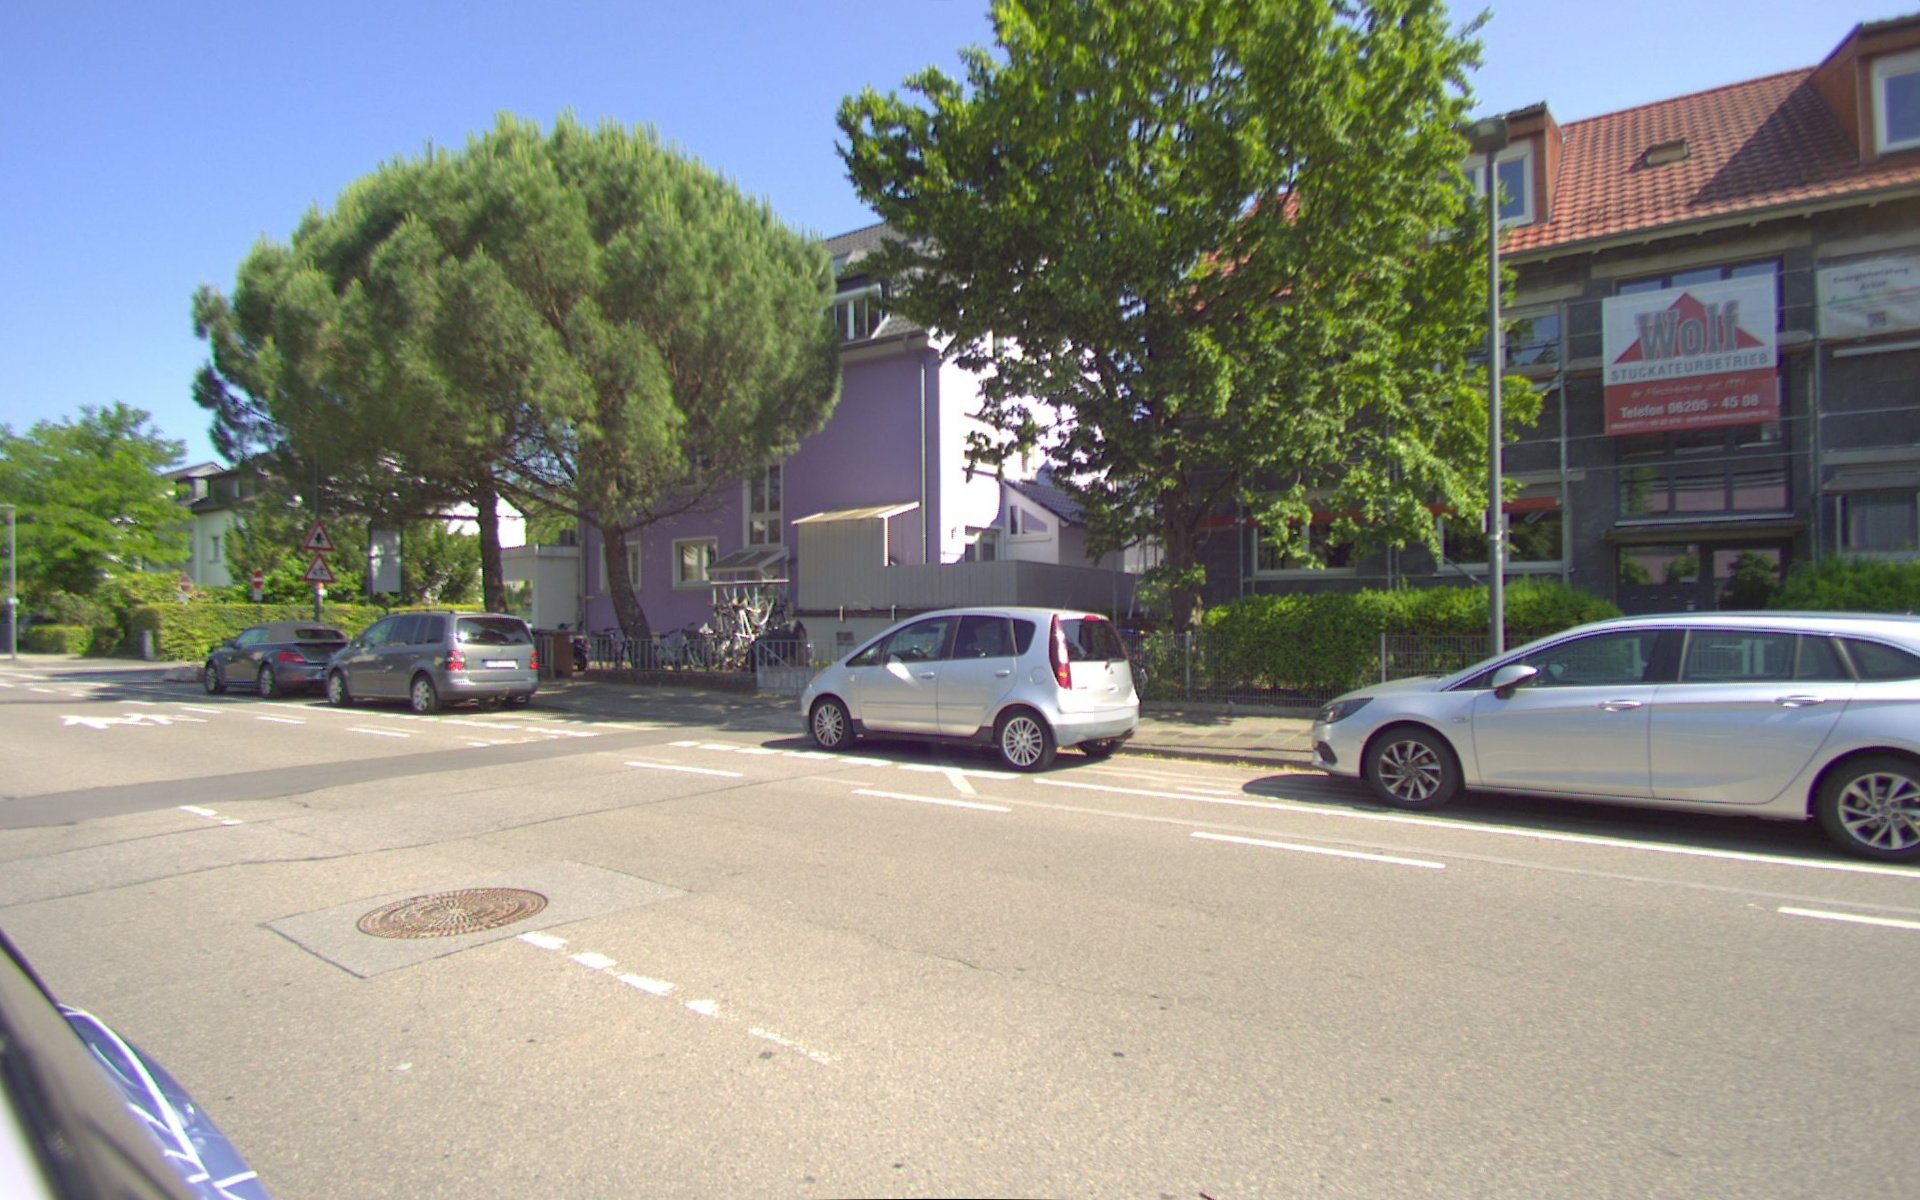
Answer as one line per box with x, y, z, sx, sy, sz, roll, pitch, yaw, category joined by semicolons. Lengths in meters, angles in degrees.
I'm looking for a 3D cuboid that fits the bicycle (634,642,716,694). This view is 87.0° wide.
-5.556;1.295;19.680;1.910;0.961;0.453;-2;-2;36;bicycle

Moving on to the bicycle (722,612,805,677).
-4.391;0.998;22.773;0.501;1.394;2.154;-2;-3;32;bicycle

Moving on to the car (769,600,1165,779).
-0.028;0.864;10.766;3.993;1.571;1.704;-2;-3;37;car

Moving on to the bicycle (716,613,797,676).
-4.672;1.016;23.378;0.501;1.394;2.154;-2;-3;32;bicycle

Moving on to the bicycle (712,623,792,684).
-4.905;1.255;24.005;0.501;1.394;2.154;-2;-3;32;bicycle

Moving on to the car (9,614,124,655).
-42.182;1.648;47.820;3.940;1.830;2.001;2;-3;-44;car

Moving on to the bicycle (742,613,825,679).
-3.888;1.003;22.434;0.501;1.394;2.154;-2;-3;32;bicycle

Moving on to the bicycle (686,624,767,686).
-5.520;1.286;24.025;0.501;1.394;2.154;-2;-3;32;bicycle

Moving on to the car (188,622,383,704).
-13.460;1.223;20.134;4.184;1.468;1.825;-2;-3;35;car

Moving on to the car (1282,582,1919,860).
4.892;0.743;7.197;4.664;1.571;1.704;-2;-3;37;car

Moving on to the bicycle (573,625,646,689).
-7.256;1.157;20.884;1.911;1.276;0.453;-1;-1;38;bicycle

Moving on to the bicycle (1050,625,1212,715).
2.312;0.926;13.927;2.236;1.148;0.508;-1;-1;39;bicycle

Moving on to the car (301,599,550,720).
-9.029;0.964;16.970;4.575;1.778;1.825;-2;-3;35;car
